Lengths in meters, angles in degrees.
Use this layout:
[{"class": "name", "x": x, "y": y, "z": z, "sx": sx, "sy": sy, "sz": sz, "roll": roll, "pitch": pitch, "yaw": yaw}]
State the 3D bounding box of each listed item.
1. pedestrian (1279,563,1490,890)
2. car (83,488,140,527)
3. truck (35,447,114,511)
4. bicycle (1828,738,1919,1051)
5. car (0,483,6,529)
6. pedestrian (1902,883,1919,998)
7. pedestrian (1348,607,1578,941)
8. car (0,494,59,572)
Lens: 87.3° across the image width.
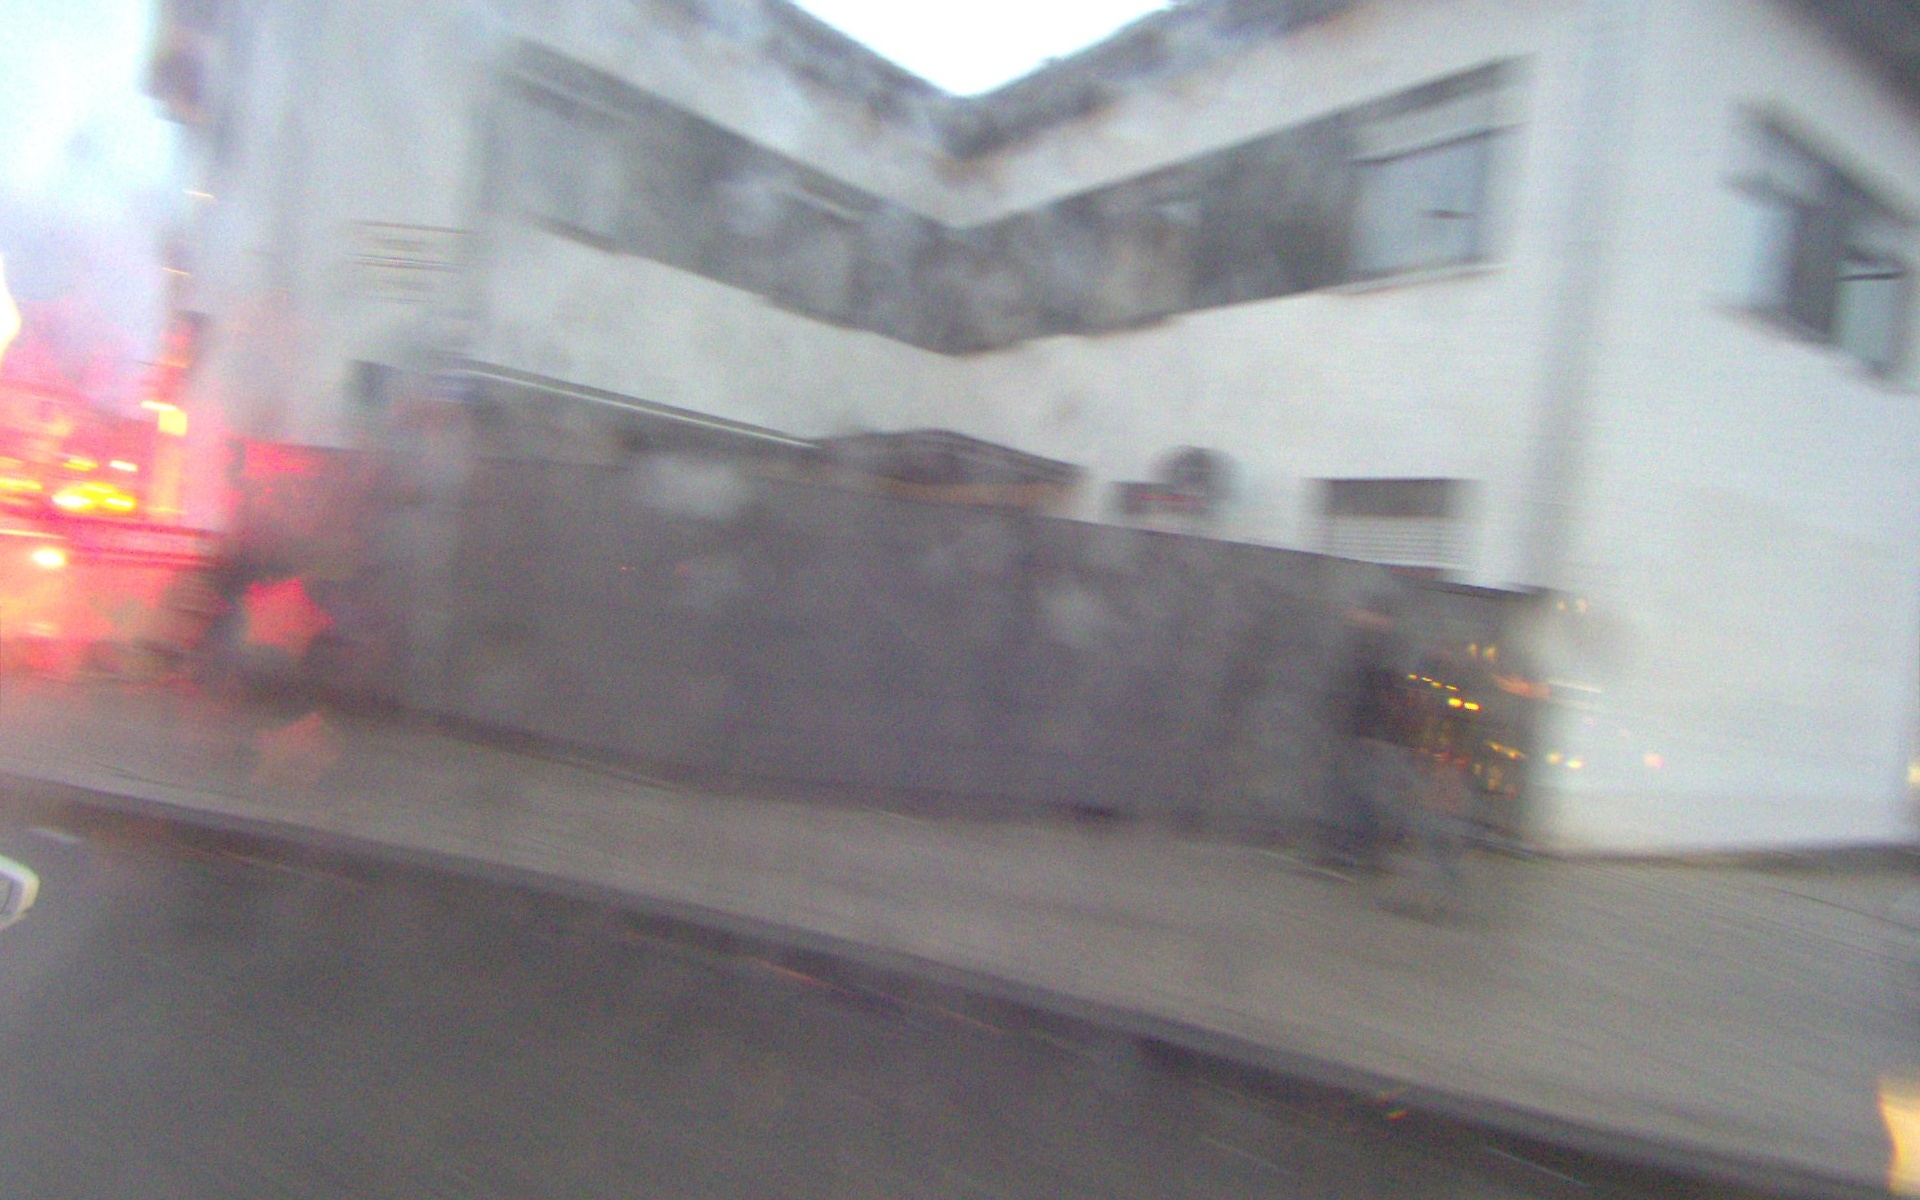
[{"class": "pedestrian", "x": 2.583, "y": 0.755, "z": 6.189, "sx": 0.706, "sy": 1.856, "sz": 0.634, "roll": 7, "pitch": 3, "yaw": -16}, {"class": "car", "x": -39.660, "y": -4.344, "z": 47.080, "sx": 1.681, "sy": 1.486, "sz": 3.680, "roll": 7, "pitch": 1, "yaw": -37}, {"class": "truck", "x": -51.053, "y": -6.928, "z": 58.148, "sx": 2.700, "sy": 3.048, "sz": 5.930, "roll": 7, "pitch": 1, "yaw": -37}, {"class": "bicycle", "x": 5.230, "y": 1.445, "z": 4.578, "sx": 1.907, "sy": 1.313, "sz": 0.551, "roll": 7, "pitch": 3, "yaw": -1}, {"class": "car", "x": -33.955, "y": -3.305, "z": 34.244, "sx": 1.714, "sy": 1.652, "sz": 3.956, "roll": 7, "pitch": 1, "yaw": -39}, {"class": "pedestrian", "x": 5.322, "y": 1.287, "z": 4.887, "sx": 0.679, "sy": 1.585, "sz": 0.609, "roll": 7, "pitch": 2, "yaw": -3}, {"class": "pedestrian", "x": 2.686, "y": 0.912, "z": 5.422, "sx": 0.706, "sy": 1.642, "sz": 0.580, "roll": 7, "pitch": 2, "yaw": -16}, {"class": "car", "x": -22.910, "y": -1.685, "z": 23.892, "sx": 1.801, "sy": 1.590, "sz": 3.810, "roll": 7, "pitch": 1, "yaw": -37}]
